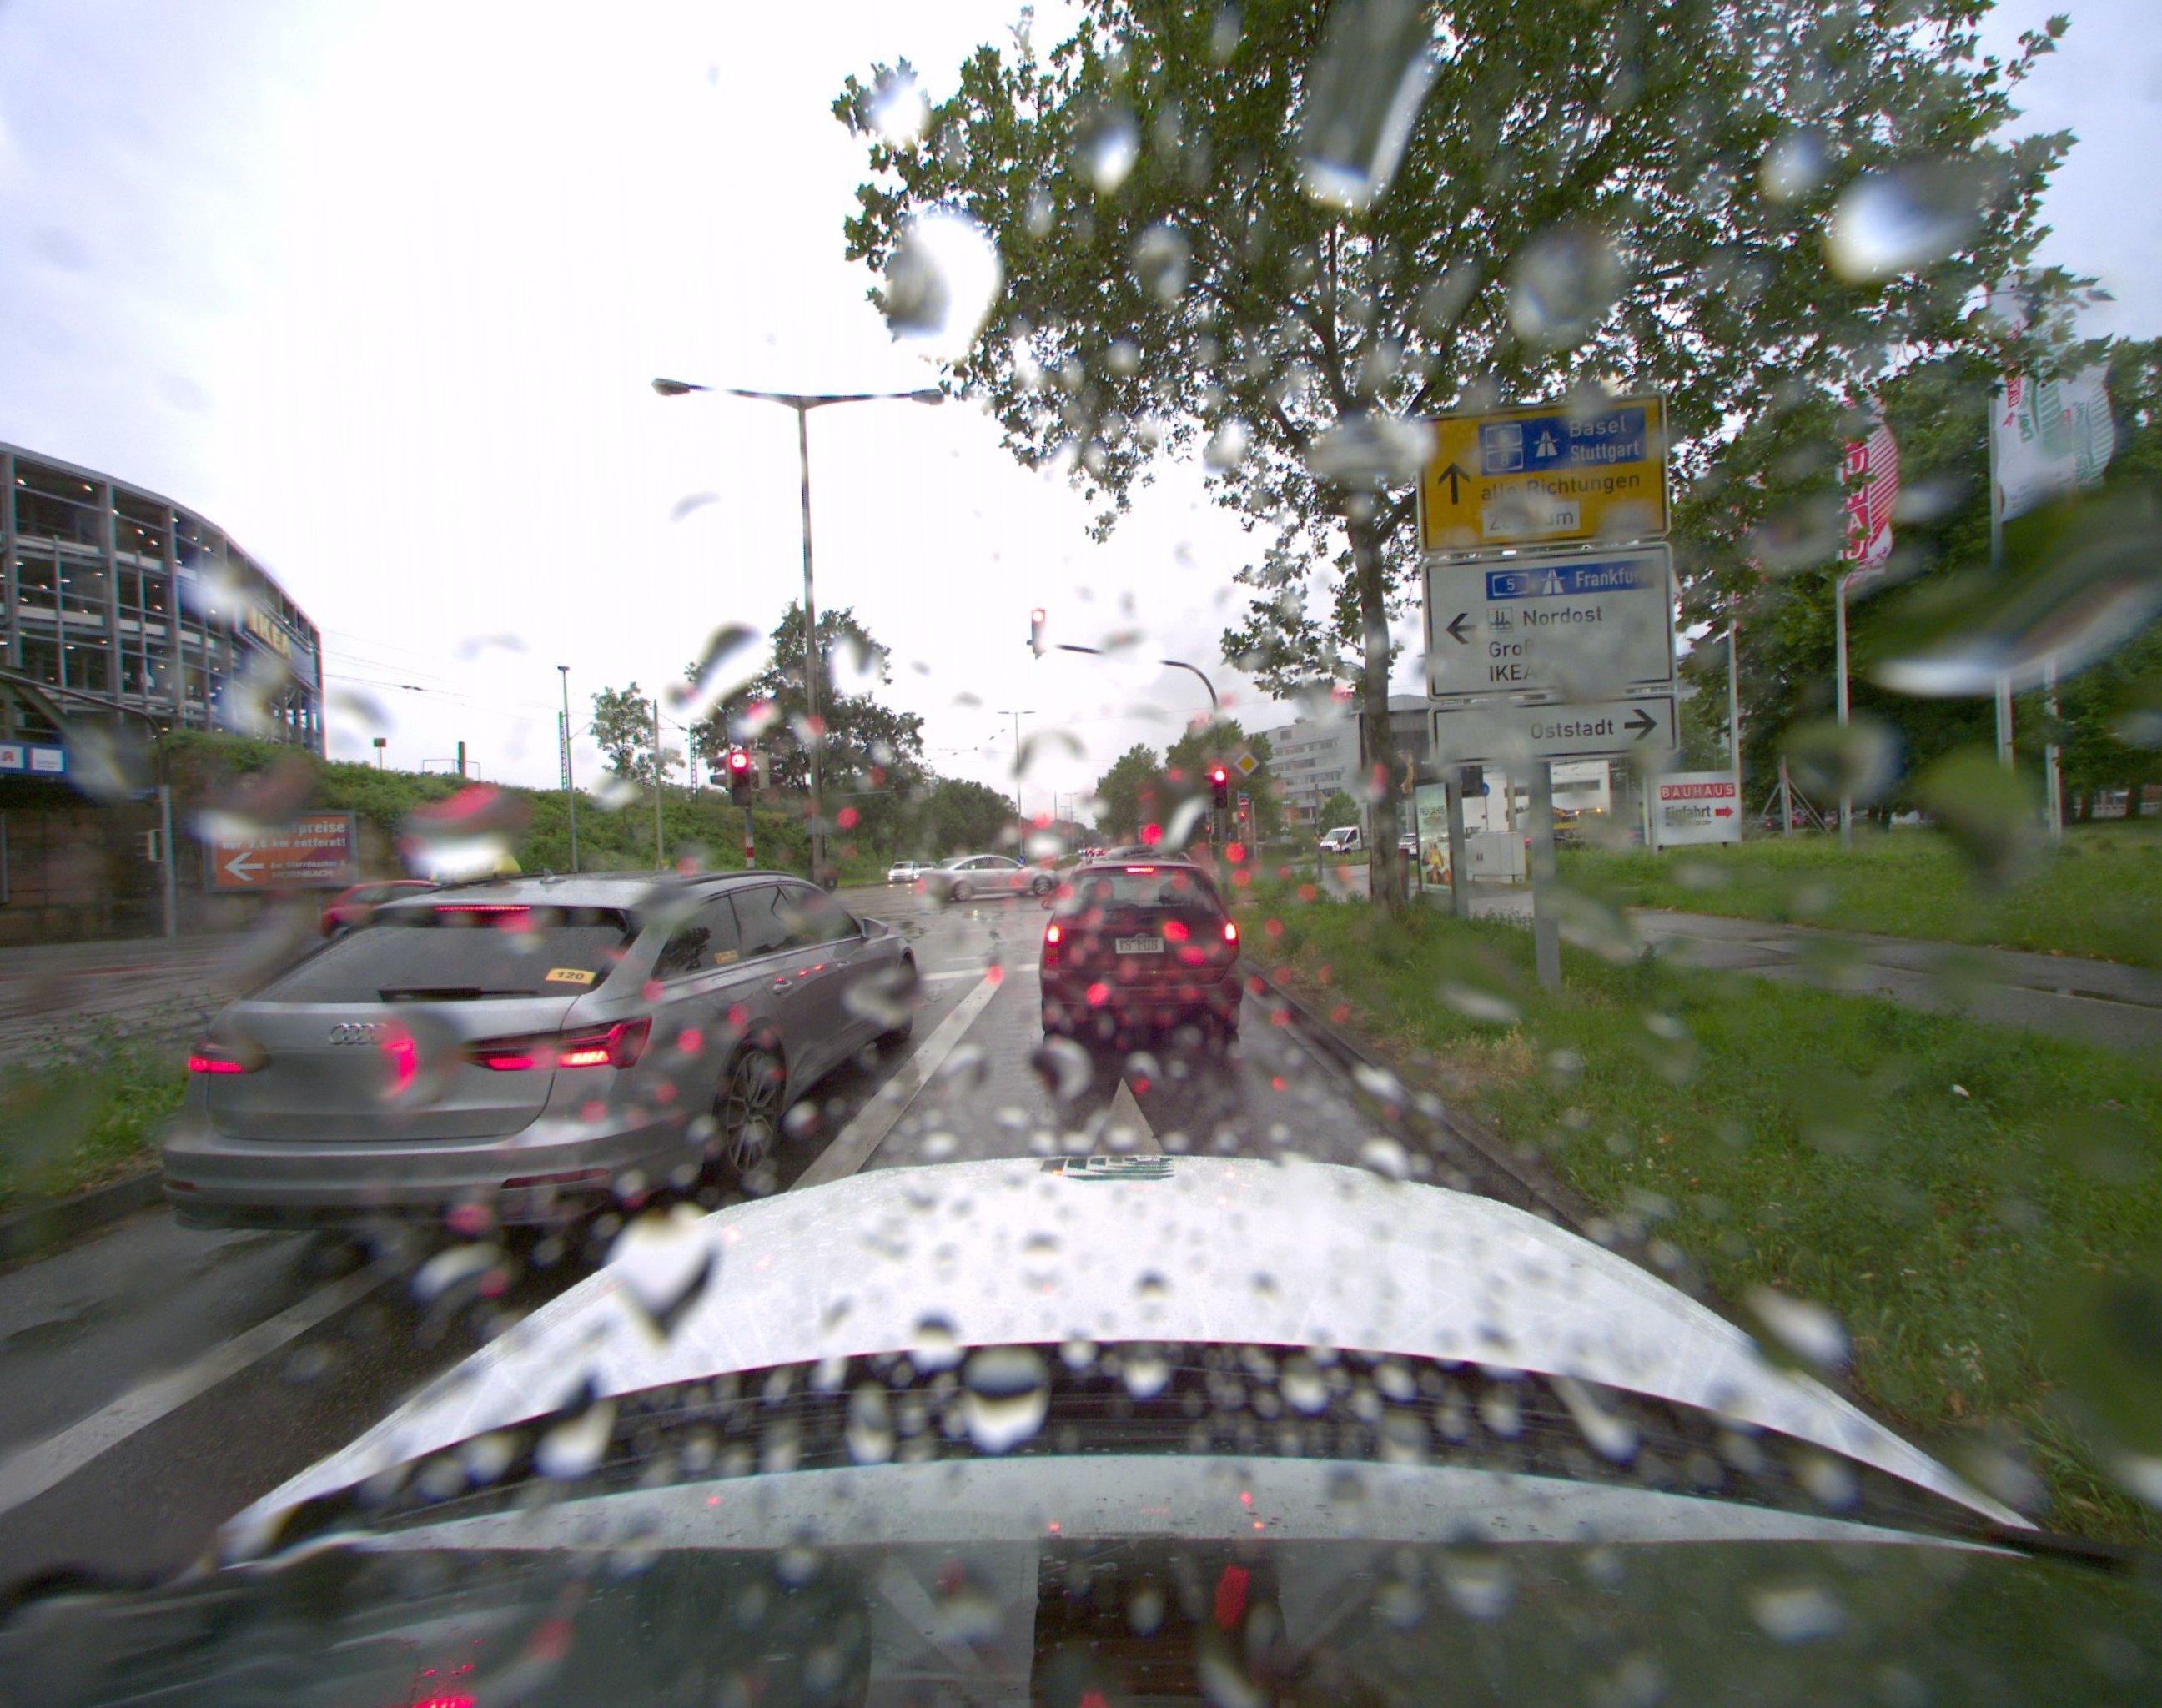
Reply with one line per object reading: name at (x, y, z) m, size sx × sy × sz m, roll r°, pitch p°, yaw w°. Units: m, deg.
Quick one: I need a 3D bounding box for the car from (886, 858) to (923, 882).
car at (-11.973, 1.062, 55.543) m, size 1.633 × 1.452 × 3.786 m, roll -3°, pitch 0°, yaw 0°

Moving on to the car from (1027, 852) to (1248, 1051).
car at (0.454, 0.719, 7.937) m, size 1.636 × 1.465 × 3.733 m, roll 0°, pitch 0°, yaw 1°

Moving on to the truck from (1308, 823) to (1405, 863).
truck at (18.489, -0.761, 54.410) m, size 6.897 × 2.365 × 2.455 m, roll -3°, pitch 0°, yaw -35°

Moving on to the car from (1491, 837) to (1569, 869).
car at (25.013, -0.085, 45.288) m, size 4.645 × 1.586 × 1.906 m, roll -2°, pitch -1°, yaw -35°

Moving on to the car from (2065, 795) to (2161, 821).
car at (88.542, -3.918, 69.303) m, size 2.286 × 1.731 × 5.899 m, roll -3°, pitch 0°, yaw -33°

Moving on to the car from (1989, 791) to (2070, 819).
car at (78.543, -4.036, 67.522) m, size 4.230 × 2.049 × 1.775 m, roll -1°, pitch 1°, yaw 44°

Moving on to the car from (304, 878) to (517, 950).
car at (-16.535, 1.417, 20.347) m, size 3.828 × 1.491 × 1.662 m, roll -2°, pitch 0°, yaw -30°

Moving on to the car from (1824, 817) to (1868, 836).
car at (69.489, -2.533, 73.993) m, size 4.645 × 1.586 × 1.907 m, roll -2°, pitch -1°, yaw -34°

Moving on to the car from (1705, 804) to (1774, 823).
car at (66.188, -4.027, 81.933) m, size 1.888 × 1.655 × 5.007 m, roll 0°, pitch -1°, yaw -33°

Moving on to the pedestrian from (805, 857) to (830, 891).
pedestrian at (-14.946, 1.106, 46.195) m, size 1.102 × 1.847 × 1.126 m, roll -3°, pitch 0°, yaw -10°

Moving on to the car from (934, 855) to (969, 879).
car at (-8.943, 0.871, 56.517) m, size 1.632 × 1.473 × 3.966 m, roll -3°, pitch 0°, yaw 1°

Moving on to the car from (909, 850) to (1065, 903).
car at (-3.149, 0.722, 27.485) m, size 4.842 × 1.491 × 1.910 m, roll -2°, pitch 0°, yaw -28°

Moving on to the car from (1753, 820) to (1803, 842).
car at (57.257, -1.889, 66.896) m, size 4.645 × 1.586 × 1.907 m, roll -2°, pitch -1°, yaw -34°

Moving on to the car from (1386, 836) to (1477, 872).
car at (17.417, -0.002, 40.431) m, size 4.644 × 1.586 × 1.907 m, roll -2°, pitch -1°, yaw -34°

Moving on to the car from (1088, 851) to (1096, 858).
car at (2.723, 0.161, 201.112) m, size 1.691 × 1.528 × 3.849 m, roll -3°, pitch 0°, yaw 3°

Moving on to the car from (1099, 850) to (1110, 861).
car at (3.789, 0.238, 130.627) m, size 1.664 × 1.528 × 3.849 m, roll -3°, pitch 0°, yaw 3°

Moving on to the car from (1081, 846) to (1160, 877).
car at (2.247, 0.412, 46.260) m, size 4.264 × 1.559 × 1.728 m, roll -3°, pitch 0°, yaw -35°

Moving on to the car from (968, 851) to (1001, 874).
car at (-8.417, 0.732, 71.528) m, size 2.058 × 1.819 × 5.542 m, roll -3°, pitch 0°, yaw 1°

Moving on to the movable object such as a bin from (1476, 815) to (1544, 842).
movable object such as a bin at (53.775, -3.192, 102.157) m, size 3.342 × 2.995 × 6.650 m, roll -3°, pitch 0°, yaw -34°

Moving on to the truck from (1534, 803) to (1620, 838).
truck at (57.973, -3.843, 95.374) m, size 3.342 × 3.507 × 7.806 m, roll -3°, pitch 0°, yaw -33°

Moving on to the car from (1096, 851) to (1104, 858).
car at (4.558, 0.023, 190.590) m, size 1.691 × 1.528 × 3.849 m, roll -3°, pitch 0°, yaw 3°

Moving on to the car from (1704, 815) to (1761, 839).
car at (47.081, -1.931, 58.802) m, size 4.645 × 1.586 × 1.907 m, roll -2°, pitch -1°, yaw -34°

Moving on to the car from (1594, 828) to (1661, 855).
car at (34.928, -0.813, 52.007) m, size 4.645 × 1.586 × 1.907 m, roll -2°, pitch -1°, yaw -34°

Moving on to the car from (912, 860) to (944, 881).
car at (-11.570, 1.220, 61.863) m, size 1.585 × 1.404 × 3.823 m, roll -3°, pitch 0°, yaw 1°

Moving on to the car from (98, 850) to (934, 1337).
car at (-2.280, 0.768, 5.068) m, size 1.763 × 1.574 × 4.822 m, roll 0°, pitch 0°, yaw 1°
